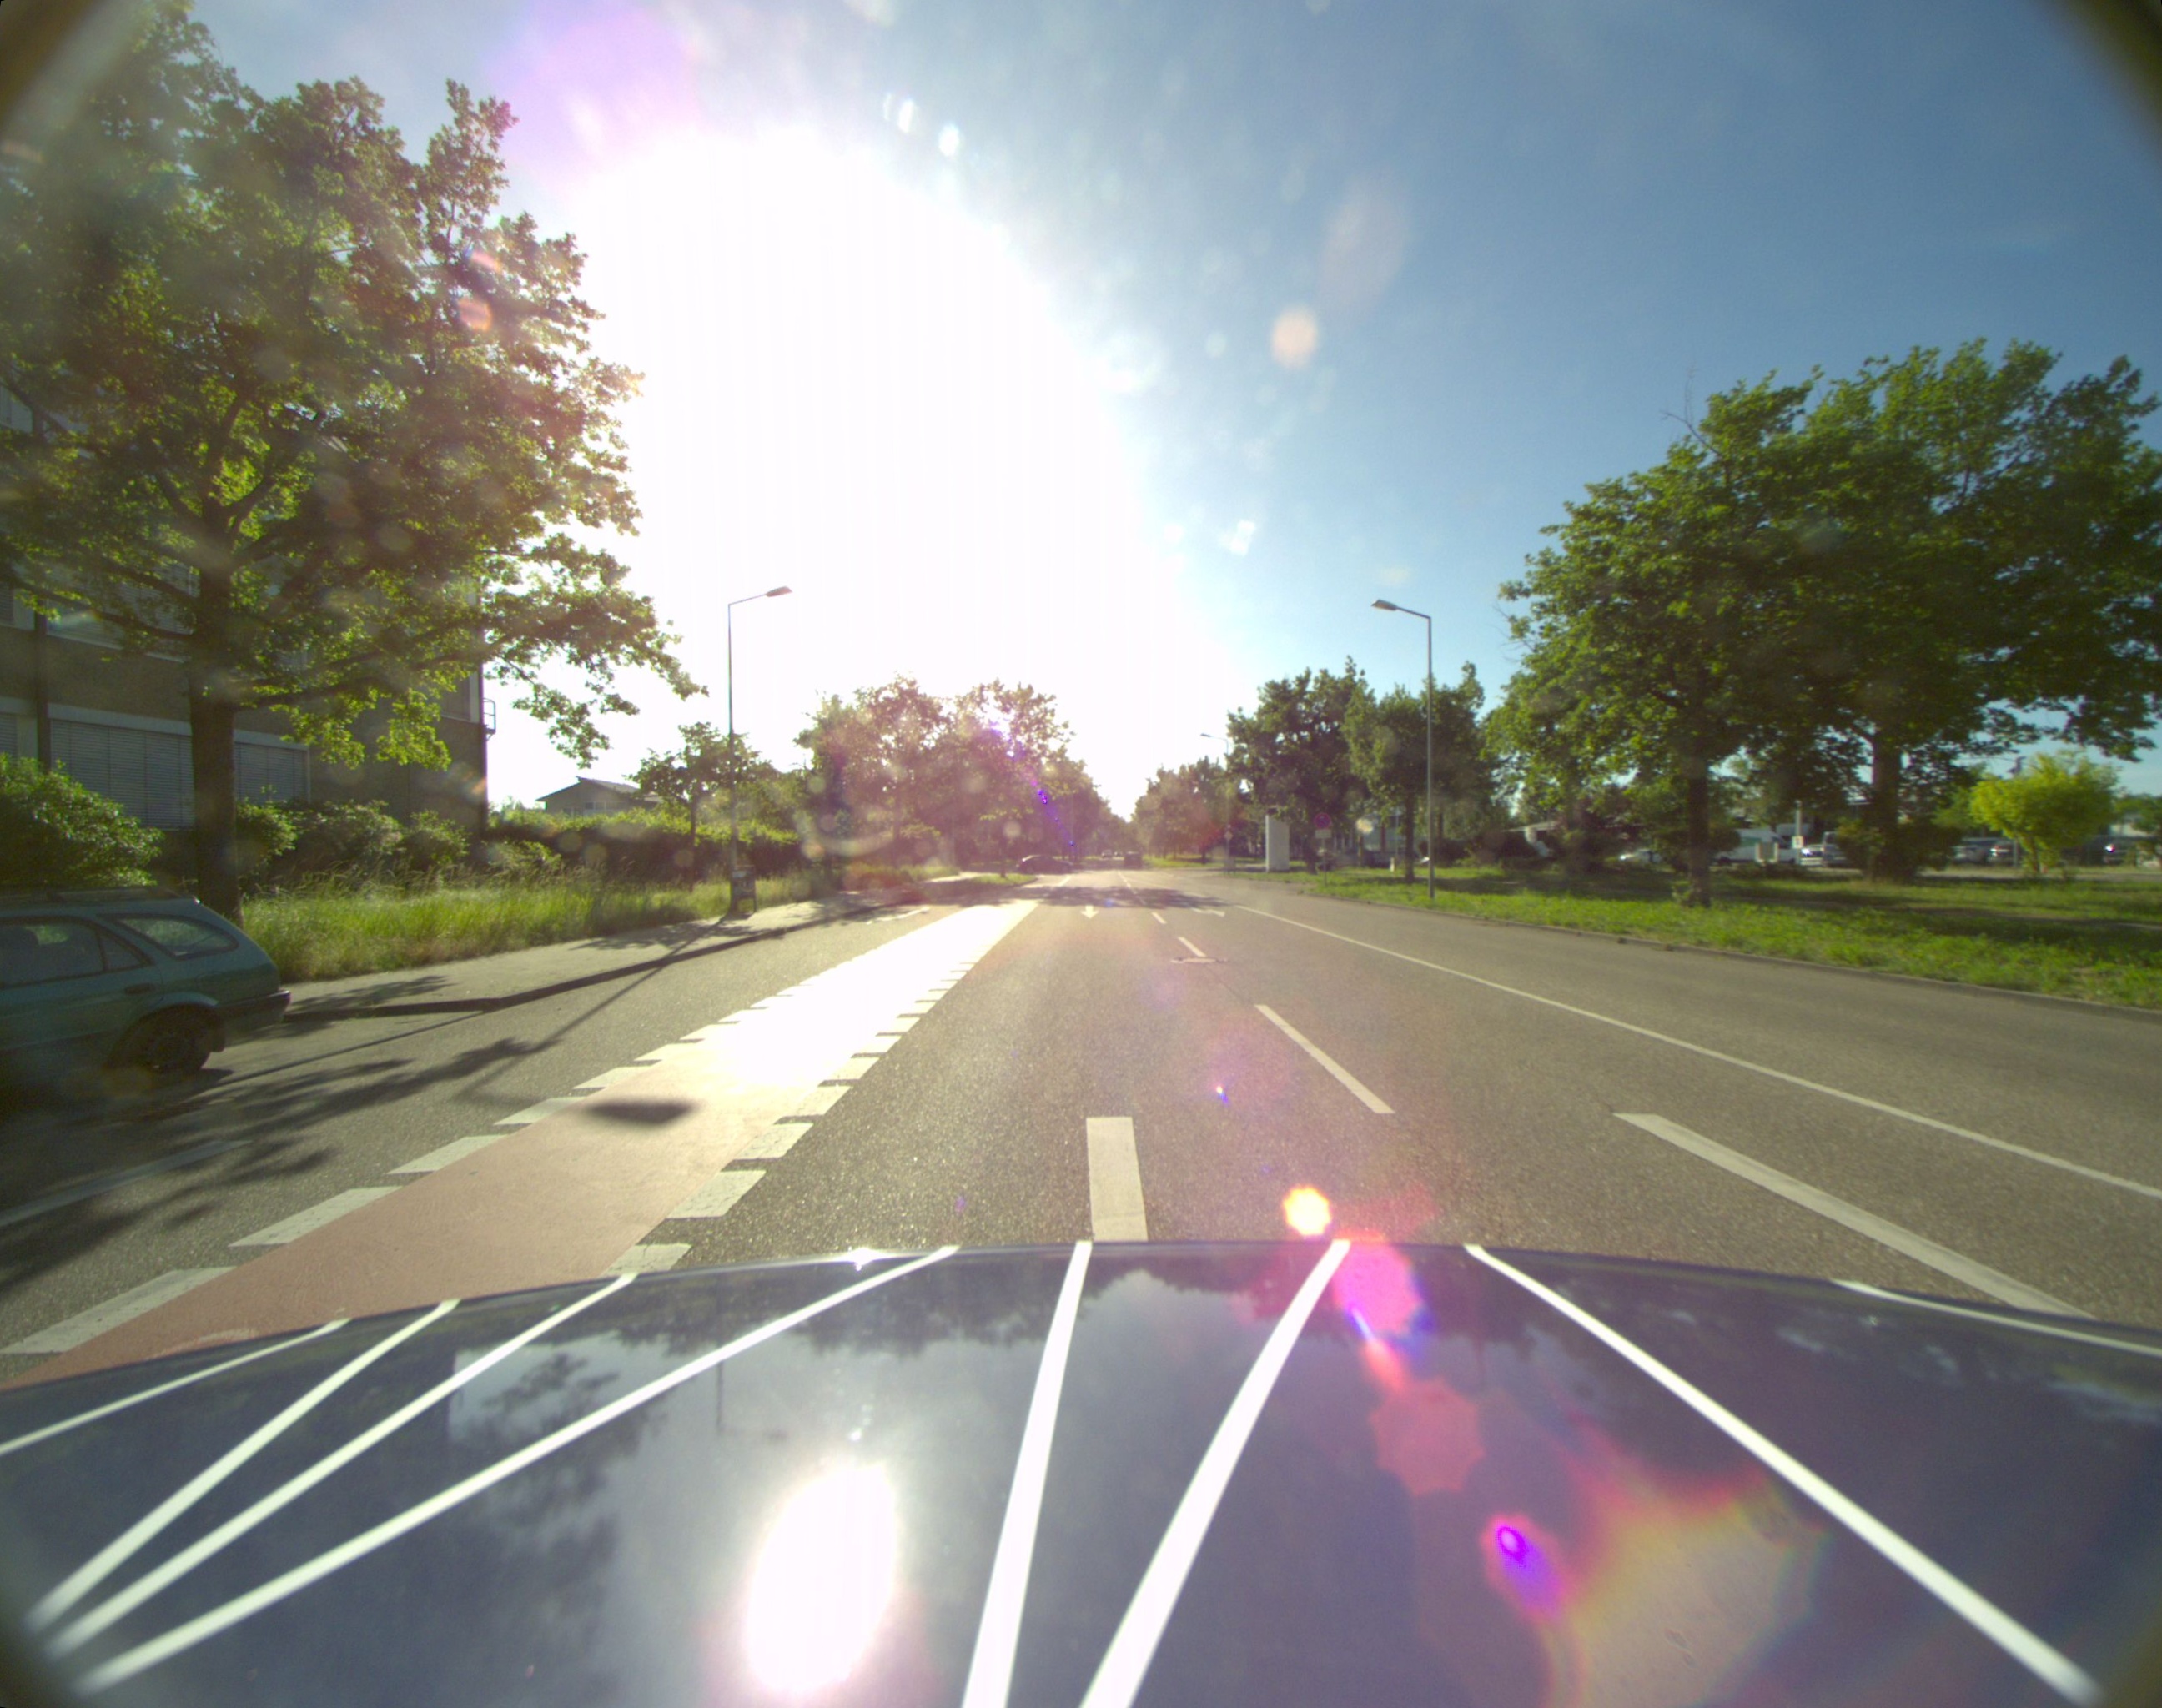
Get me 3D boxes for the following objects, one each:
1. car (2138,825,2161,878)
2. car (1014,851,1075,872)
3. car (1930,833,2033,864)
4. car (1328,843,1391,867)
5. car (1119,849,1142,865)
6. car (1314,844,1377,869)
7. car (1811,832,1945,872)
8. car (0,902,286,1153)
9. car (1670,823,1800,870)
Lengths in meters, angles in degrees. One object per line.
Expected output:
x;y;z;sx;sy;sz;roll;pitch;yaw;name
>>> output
33.892;-0.141;22.099;3.817;1.562;1.735;-2;0;0;car
-2.849;0.537;58.673;4.489;1.510;1.895;-1;1;-10;car
52.093;-0.328;44.018;3.860;1.661;1.762;-2;1;0;car
23.933;0.091;65.429;4.637;1.822;2.000;-2;1;0;car
4.881;0.284;75.544;1.768;1.517;4.078;0;1;-4;car
21.769;0.213;62.691;4.463;1.822;2.000;-2;1;0;car
40.065;-0.112;38.280;4.642;1.771;1.990;-2;1;0;car
-7.521;1.117;4.284;1.706;1.460;4.141;-1;-1;0;car
39.905;-0.473;46.455;6.023;2.540;2.409;-2;1;-4;car
